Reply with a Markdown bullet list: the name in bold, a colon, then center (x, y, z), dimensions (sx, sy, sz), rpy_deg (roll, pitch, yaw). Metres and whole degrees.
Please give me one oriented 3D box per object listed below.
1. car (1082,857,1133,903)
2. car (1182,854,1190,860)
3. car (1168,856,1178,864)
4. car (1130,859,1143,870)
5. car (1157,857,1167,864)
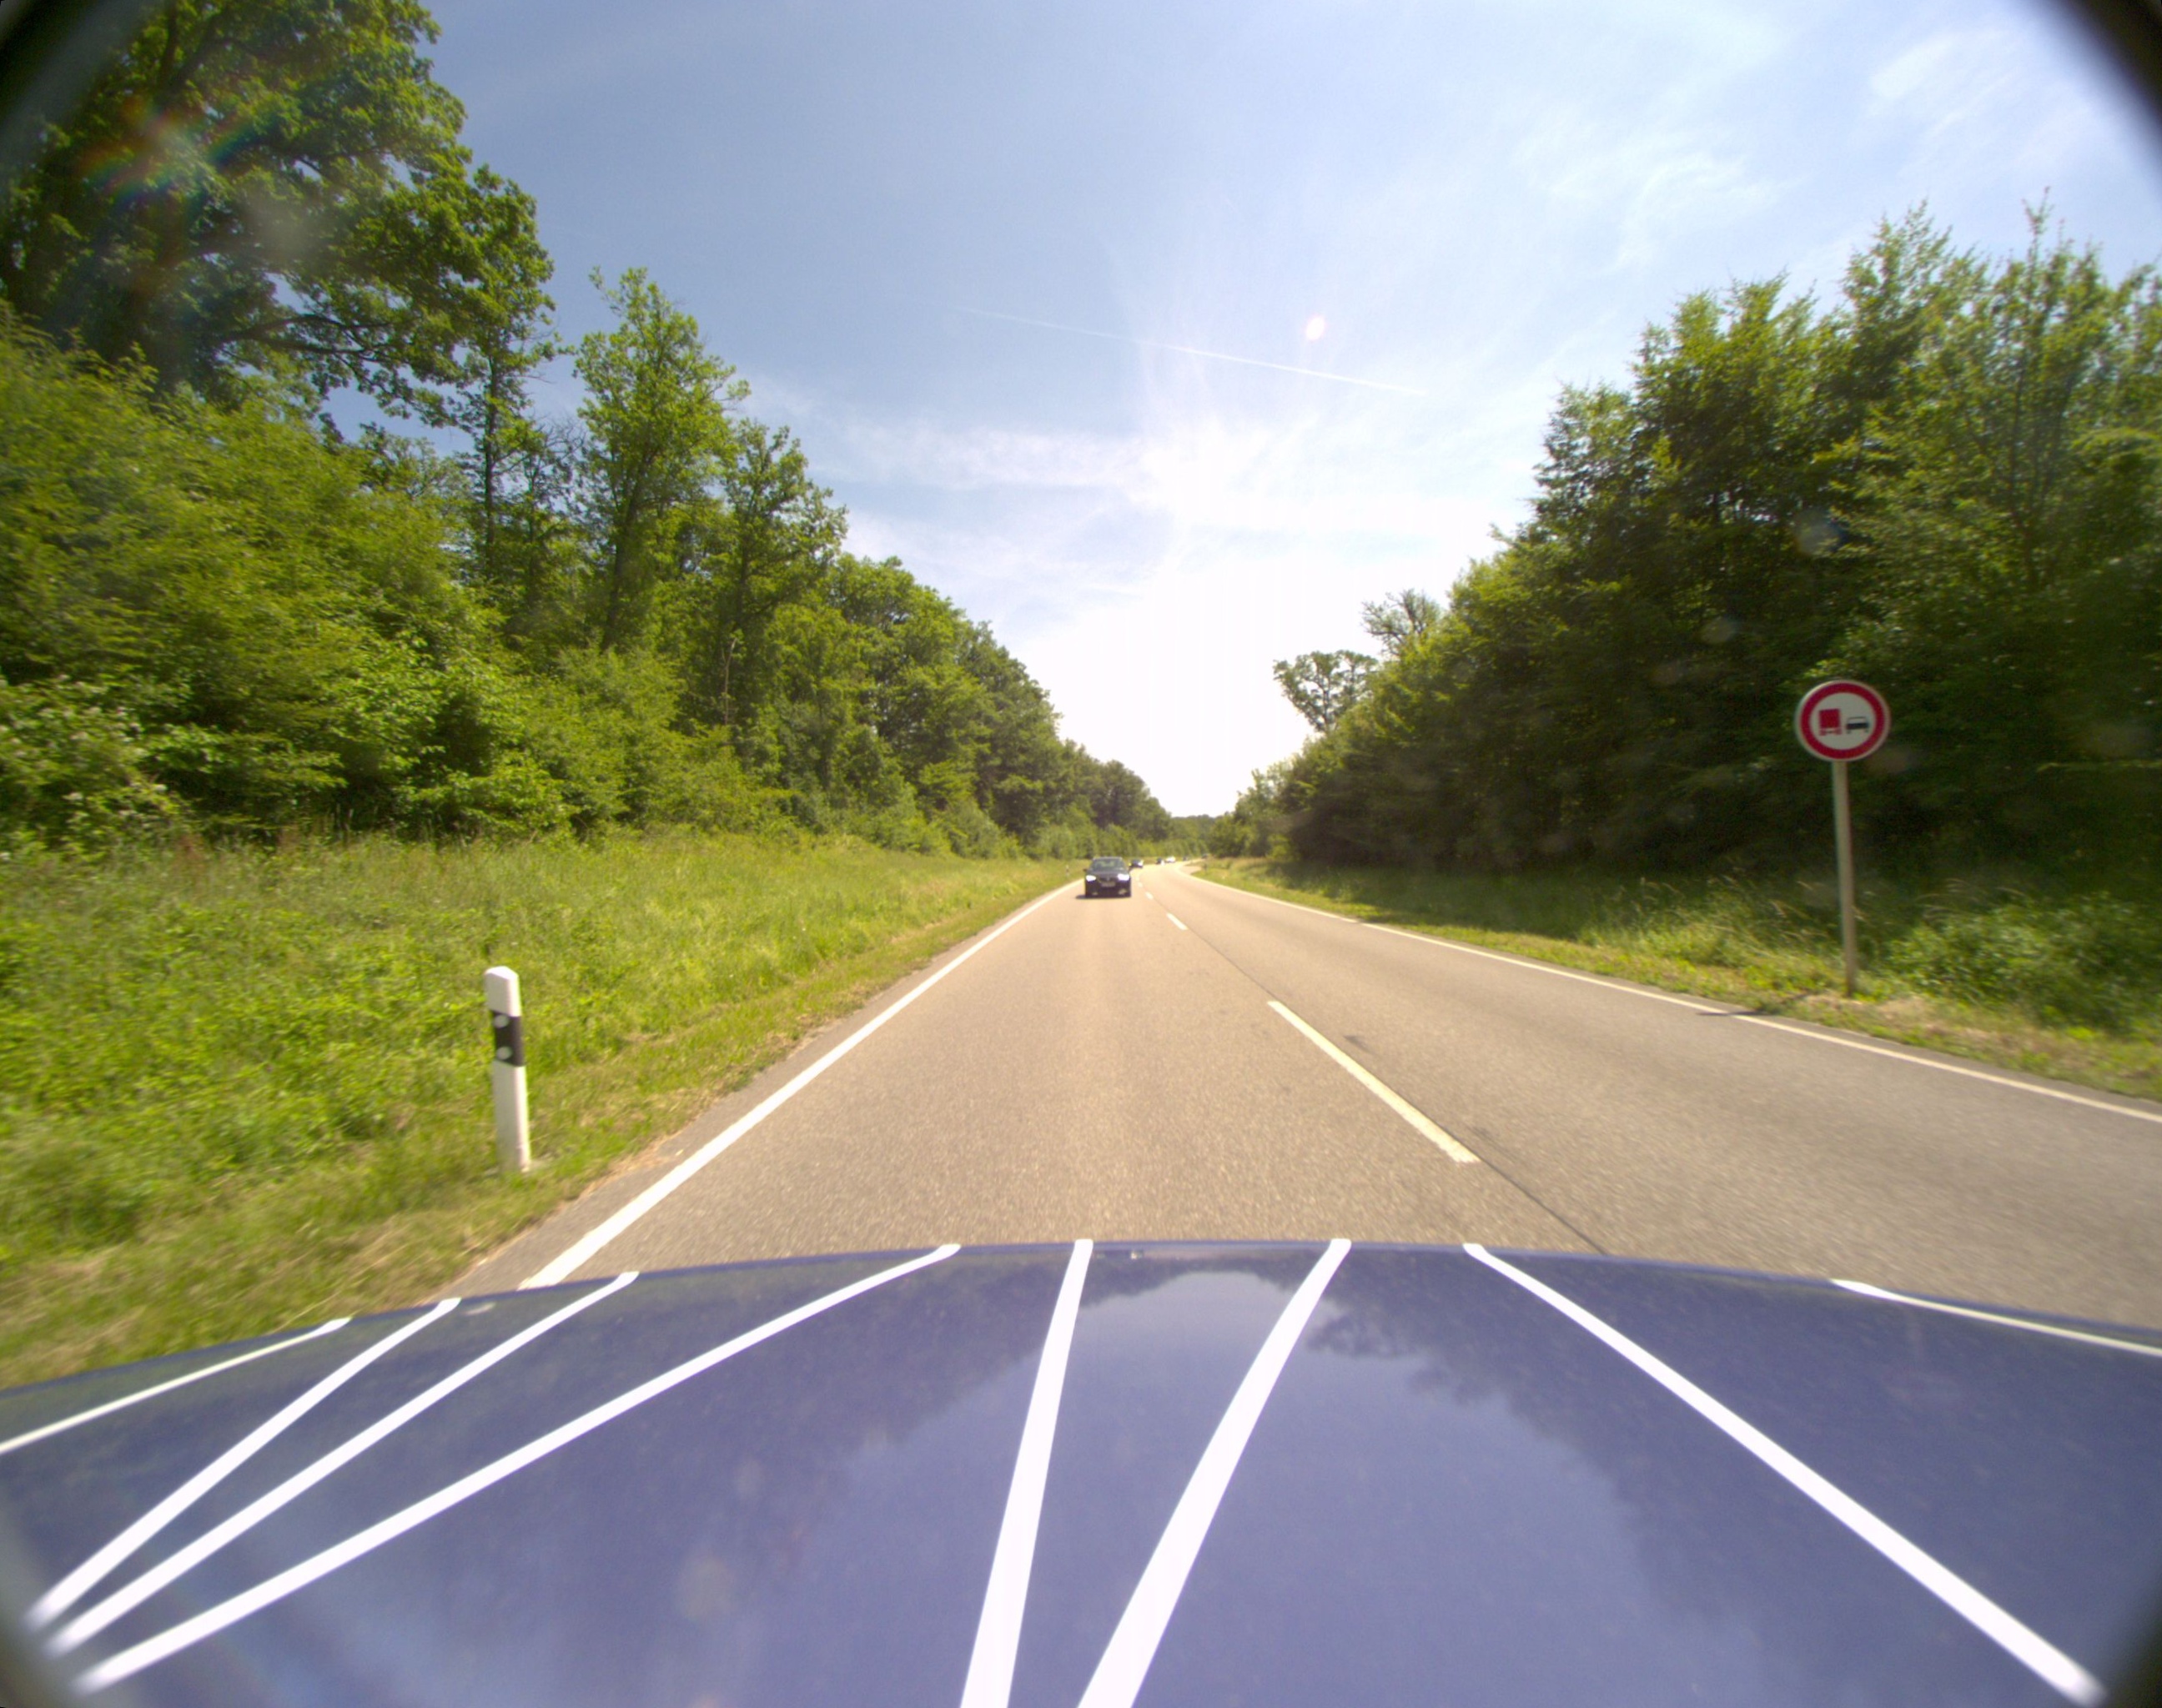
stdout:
- **car**: center (1.067, 0.909, 28.359), dimensions (1.713, 1.516, 4.243), rpy_deg (-1, 0, 4)
- **car**: center (29.673, 0.910, 215.539), dimensions (1.691, 1.718, 4.004), rpy_deg (-2, 0, 15)
- **car**: center (22.139, 1.360, 183.257), dimensions (2.017, 1.737, 4.384), rpy_deg (-2, 0, 11)
- **car**: center (7.805, 1.409, 106.503), dimensions (1.775, 1.454, 3.950), rpy_deg (-2, 0, 5)
- **car**: center (16.707, 1.292, 156.543), dimensions (1.774, 1.454, 4.003), rpy_deg (-2, 0, 10)
